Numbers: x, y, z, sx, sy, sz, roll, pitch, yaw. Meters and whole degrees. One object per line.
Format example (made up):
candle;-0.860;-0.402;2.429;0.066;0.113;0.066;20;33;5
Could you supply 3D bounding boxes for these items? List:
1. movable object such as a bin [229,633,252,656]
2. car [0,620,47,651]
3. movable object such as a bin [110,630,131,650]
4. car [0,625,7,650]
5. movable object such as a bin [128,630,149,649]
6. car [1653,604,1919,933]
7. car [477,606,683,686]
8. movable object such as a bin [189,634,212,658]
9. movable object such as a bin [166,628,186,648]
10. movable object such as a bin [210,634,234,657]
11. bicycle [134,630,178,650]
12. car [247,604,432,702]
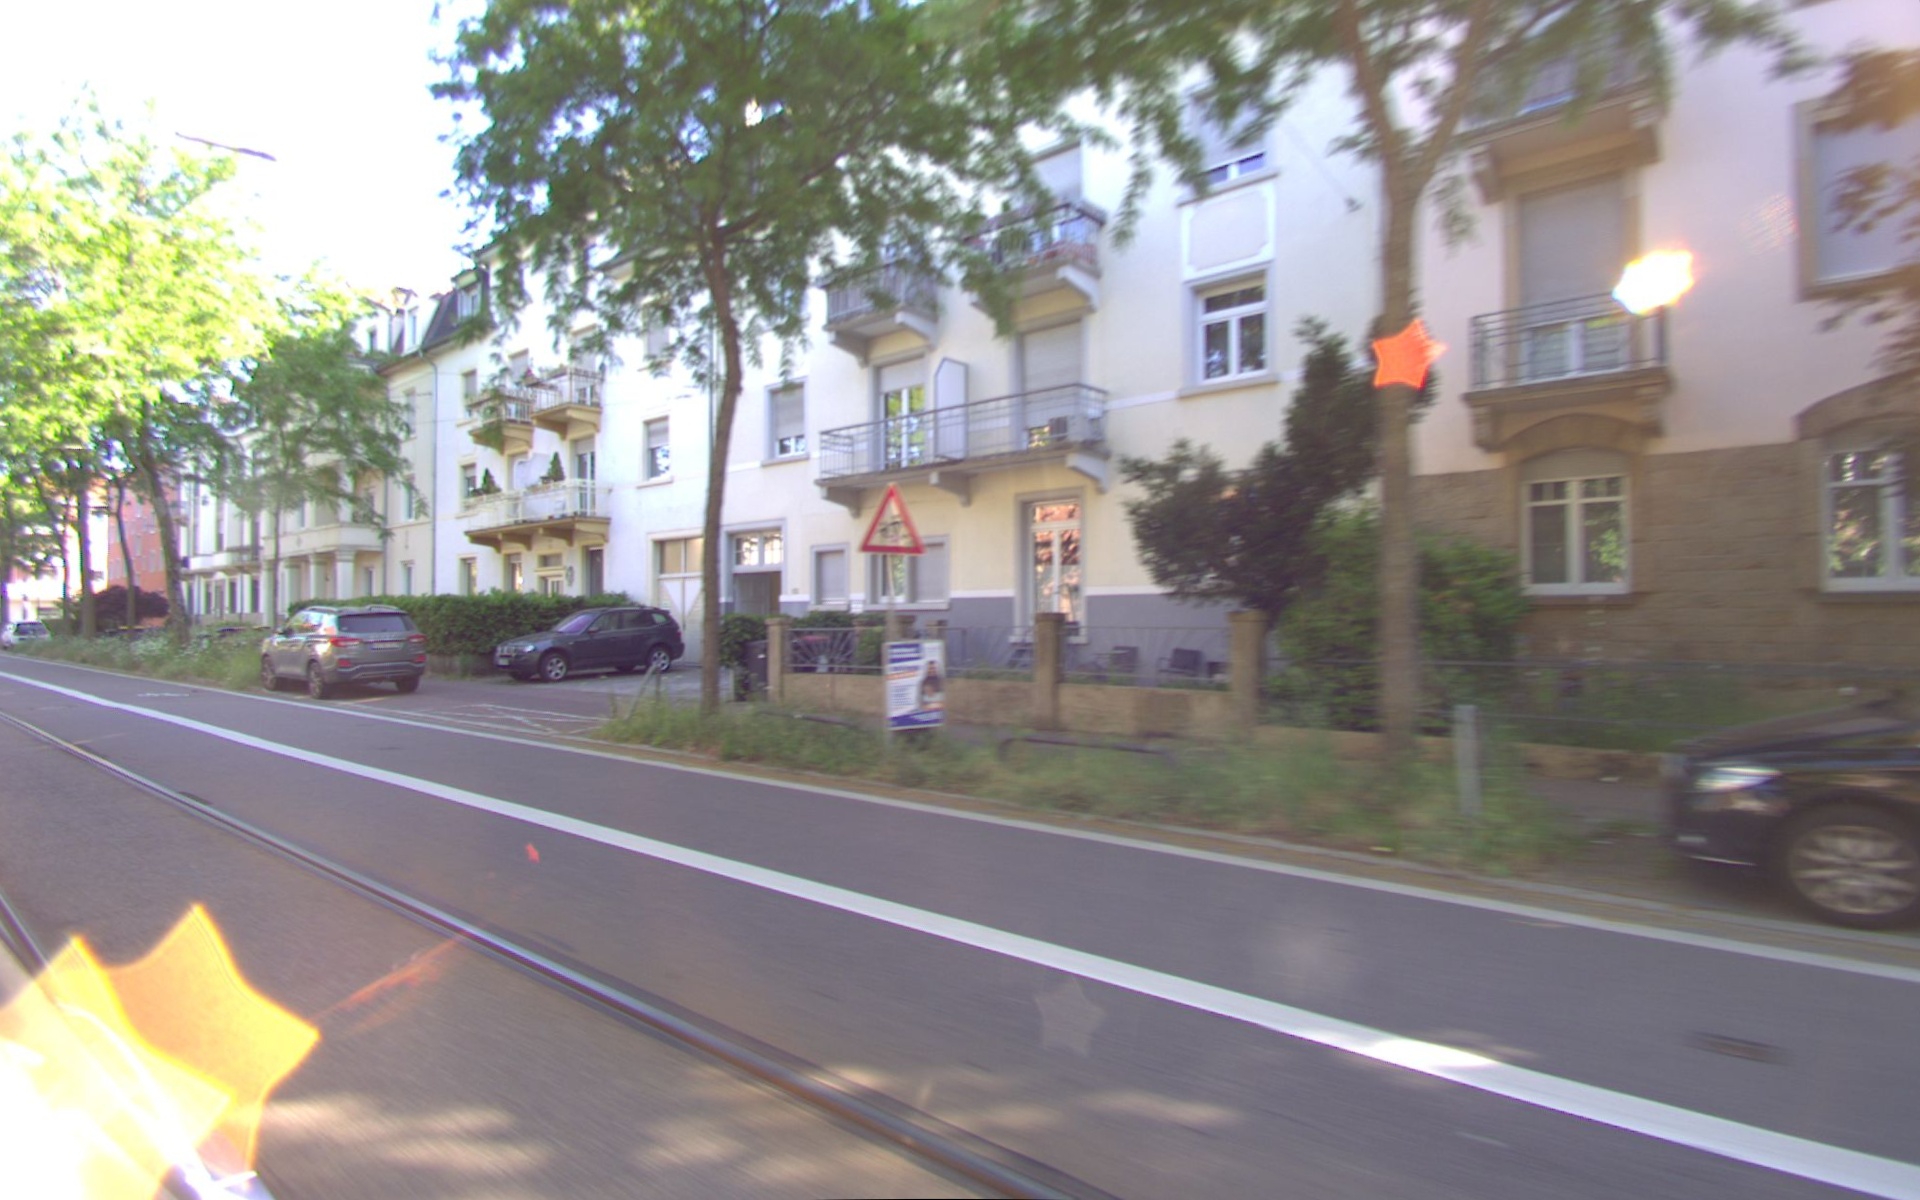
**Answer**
movable object such as a bin;-30.094;1.857;42.344;0.739;0.928;0.621;-1;0;41
car;-49.255;1.844;52.999;3.686;1.547;1.609;-1;-1;39
movable object such as a bin;-45.338;2.167;54.671;0.895;1.049;0.730;-1;-2;41
car;-58.517;2.272;60.765;3.666;1.465;1.538;-1;-1;41
movable object such as a bin;-44.847;2.150;55.234;0.895;1.062;0.730;-1;-2;41
car;6.062;0.789;4.732;4.483;1.553;1.758;-1;0;41
car;-9.116;1.038;24.540;1.952;1.673;4.255;-1;0;42
movable object such as a bin;-31.129;1.873;41.472;0.739;0.928;0.621;-1;0;41
movable object such as a bin;-43.784;2.130;56.521;0.895;1.122;0.730;-1;-2;41
movable object such as a bin;-30.532;1.876;41.872;0.739;0.928;0.621;-1;0;41
bicycle;-41.700;2.068;52.519;0.552;1.004;1.855;0;-1;12
car;-13.215;1.051;21.433;4.766;1.837;1.852;-1;-1;39
